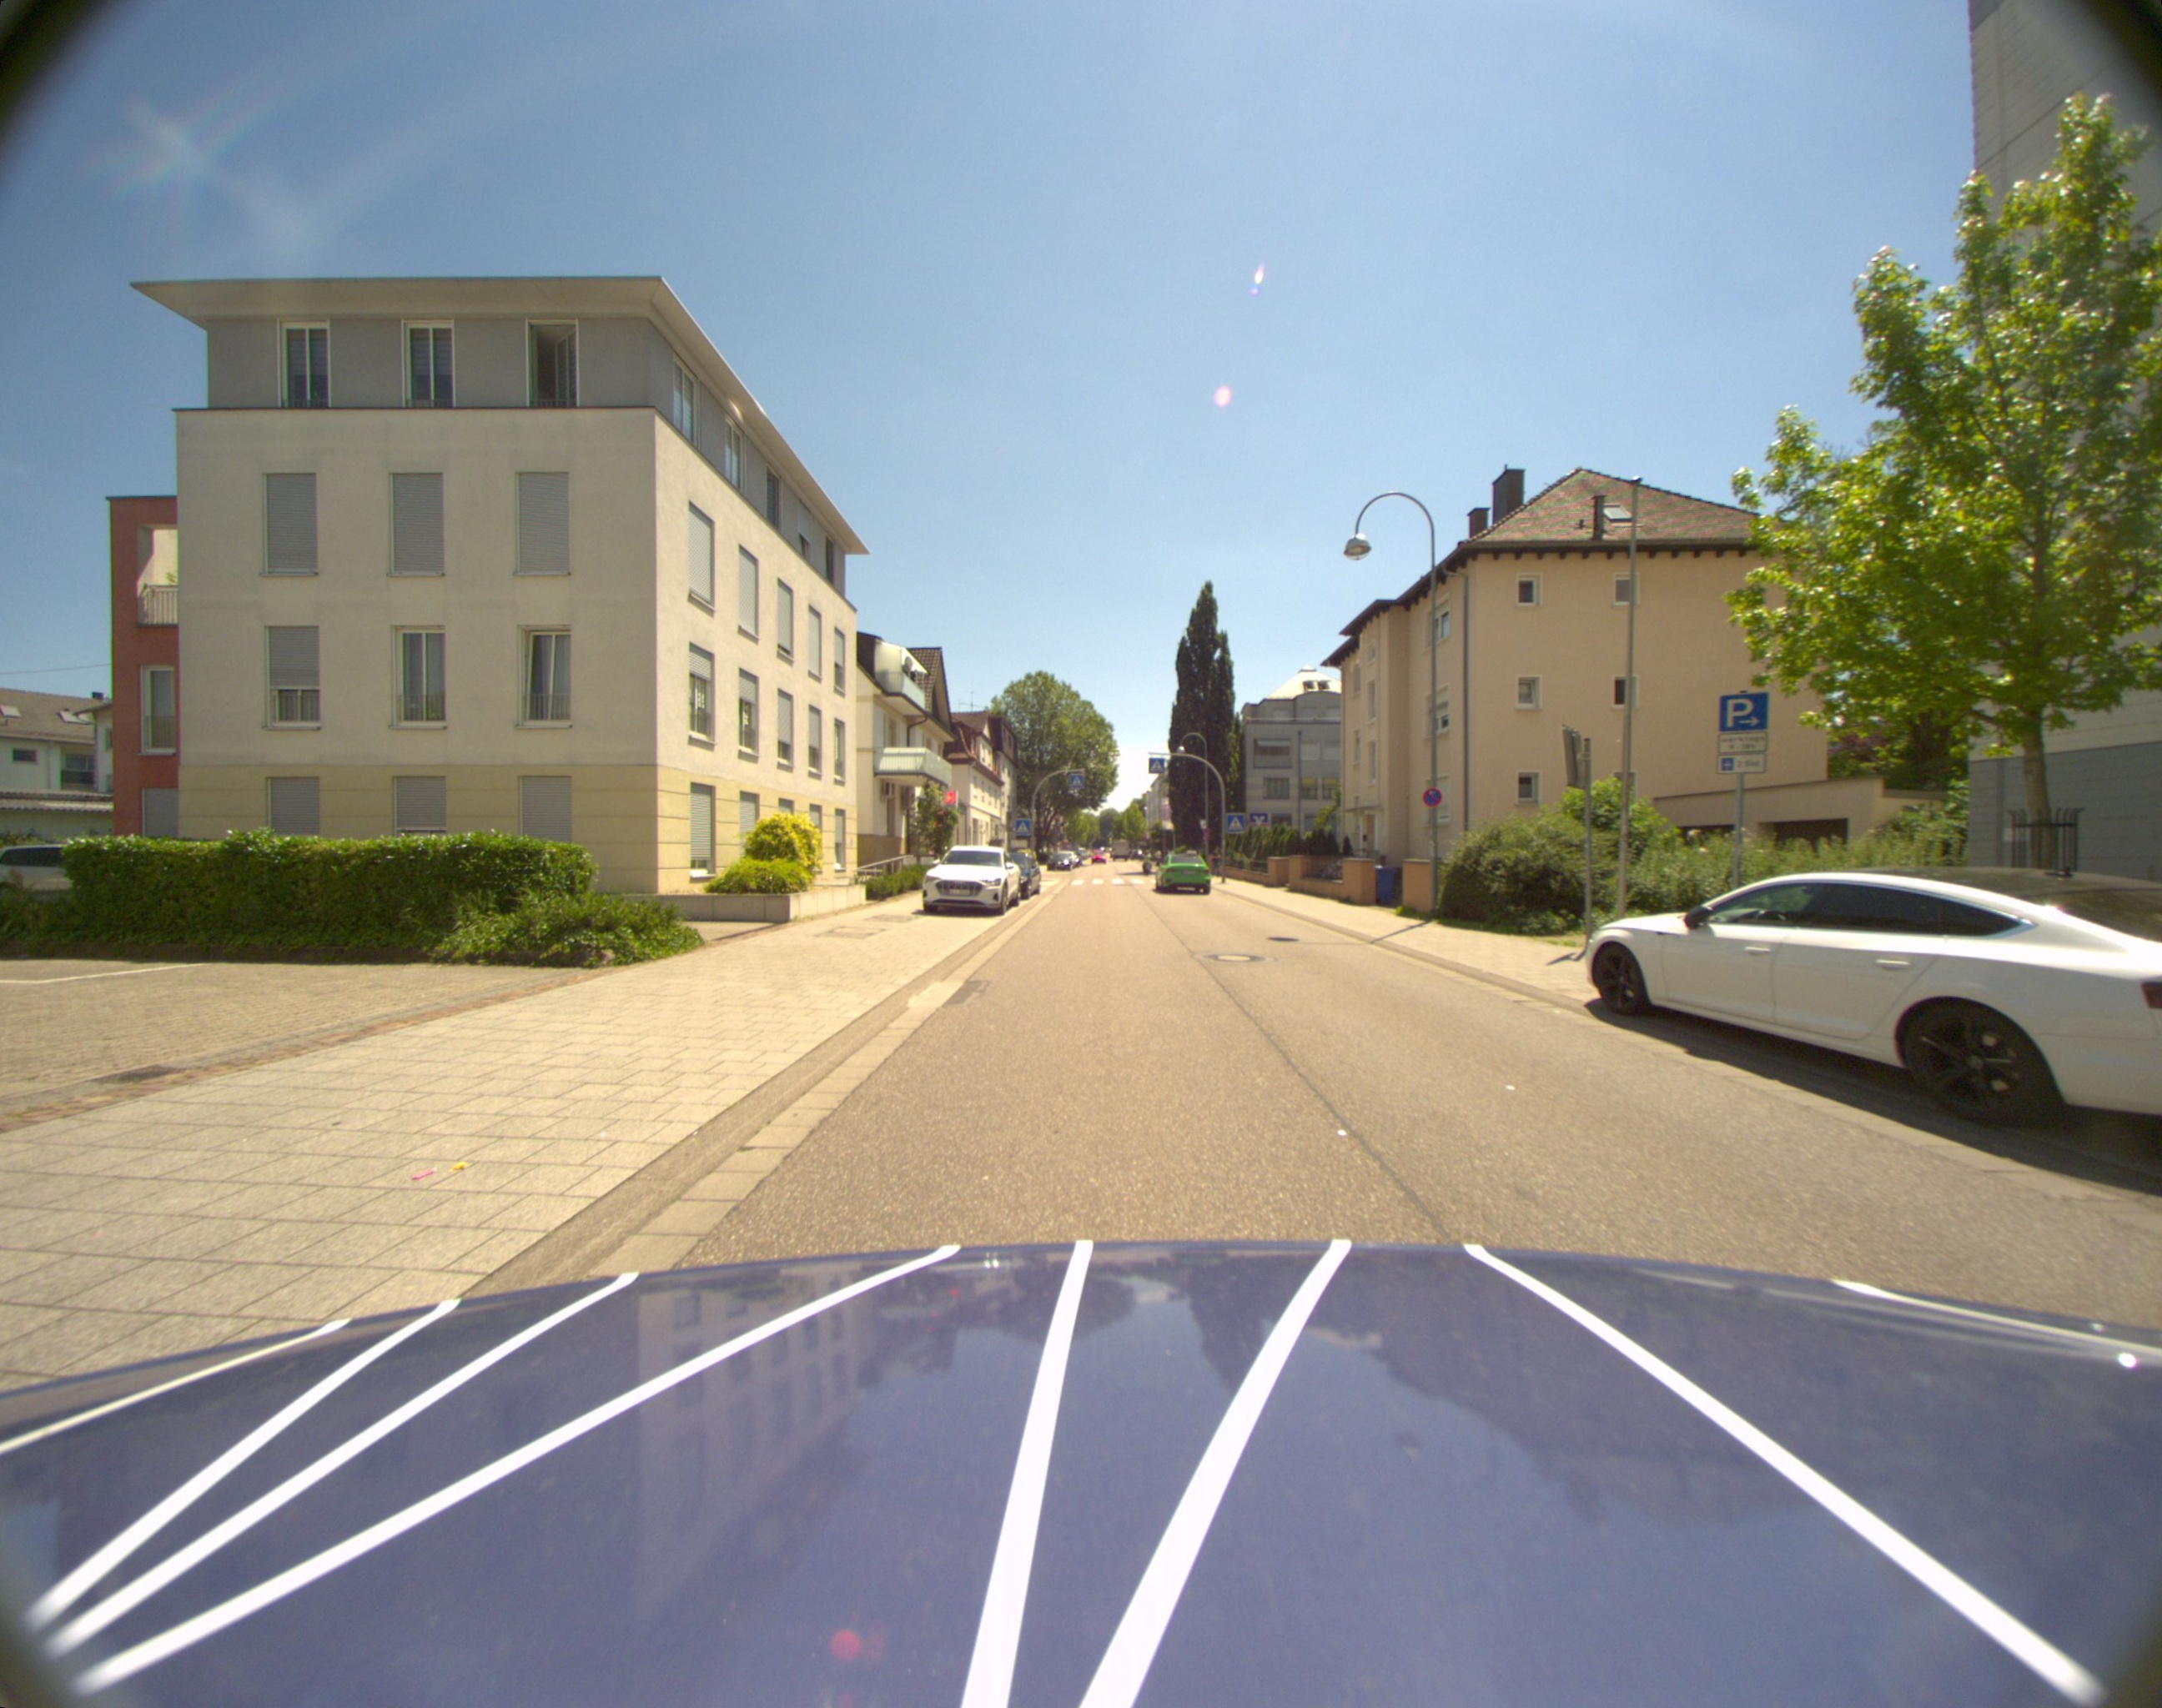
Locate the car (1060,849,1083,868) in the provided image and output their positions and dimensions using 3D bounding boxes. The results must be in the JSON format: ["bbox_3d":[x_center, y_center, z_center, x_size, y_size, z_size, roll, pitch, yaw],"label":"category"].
[{"bbox_3d":[-0.758,0.361,64.548,1.748,1.460,4.851,2,1,2],"label":"car"}]

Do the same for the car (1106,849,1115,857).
[{"bbox_3d":[5.652,-0.124,146.030,1.834,1.502,4.262,0,0,2],"label":"car"}]

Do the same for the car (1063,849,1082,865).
[{"bbox_3d":[-0.752,0.249,70.473,1.561,1.333,4.173,1,1,1],"label":"car"}]

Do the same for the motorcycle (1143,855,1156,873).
[{"bbox_3d":[4.341,0.622,47.994,0.700,1.101,1.791,0,1,7],"label":"motorcycle"}]

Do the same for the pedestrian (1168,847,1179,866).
[{"bbox_3d":[8.270,0.228,68.248,0.847,1.635,0.751,-3,2,3],"label":"pedestrian"}]

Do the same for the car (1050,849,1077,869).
[{"bbox_3d":[-1.317,0.366,59.415,1.831,1.418,4.700,1,1,2],"label":"car"}]

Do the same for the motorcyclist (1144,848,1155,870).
[{"bbox_3d":[4.349,0.307,48.077,0.700,1.425,0.707,0,1,7],"label":"motorcyclist"}]

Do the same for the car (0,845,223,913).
[{"bbox_3d":[-25.463,0.608,19.878,3.690,1.674,1.810,0,1,-6],"label":"car"}]

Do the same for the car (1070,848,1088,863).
[{"bbox_3d":[-0.227,0.161,82.474,1.834,1.502,4.758,-1,0,-1],"label":"car"}]

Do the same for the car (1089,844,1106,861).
[{"bbox_3d":[1.941,-0.202,89.311,2.000,1.880,4.294,-2,1,1],"label":"car"}]

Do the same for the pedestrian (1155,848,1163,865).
[{"bbox_3d":[7.810,0.213,76.251,0.622,1.667,0.903,-2,1,1],"label":"pedestrian"}]

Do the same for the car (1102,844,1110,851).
[{"bbox_3d":[6.118,-1.602,184.295,1.731,1.500,4.292,-1,3,0],"label":"car"}]

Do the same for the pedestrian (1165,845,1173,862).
[{"bbox_3d":[8.845,-0.066,76.267,0.750,1.760,0.951,-1,1,1],"label":"pedestrian"}]

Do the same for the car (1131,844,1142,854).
[{"bbox_3d":[9.915,-0.903,136.617,1.731,1.661,4.294,-1,1,1],"label":"car"}]

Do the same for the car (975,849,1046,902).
[{"bbox_3d":[-2.287,0.641,25.790,1.709,1.547,4.748,3,1,2],"label":"car"}]

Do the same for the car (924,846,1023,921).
[{"bbox_3d":[-2.601,0.635,19.451,1.709,1.656,4.580,2,1,2],"label":"car"}]

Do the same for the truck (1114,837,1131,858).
[{"bbox_3d":[6.047,-1.003,110.815,2.425,2.966,6.259,0,1,4],"label":"truck"}]

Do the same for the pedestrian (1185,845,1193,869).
[{"bbox_3d":[7.775,0.200,54.708,0.538,1.675,0.708,-1,1,2],"label":"pedestrian"}]

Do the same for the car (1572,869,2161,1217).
[{"bbox_3d":[5.794,0.886,5.348,1.826,1.403,4.577,-1,1,2],"label":"car"}]

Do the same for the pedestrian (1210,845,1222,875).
[{"bbox_3d":[7.692,0.321,43.250,0.538,1.675,0.708,-1,1,2],"label":"pedestrian"}]

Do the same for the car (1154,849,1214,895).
[{"bbox_3d":[3.794,0.622,28.594,1.826,1.579,4.100,0,1,2],"label":"car"}]

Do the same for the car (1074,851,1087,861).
[{"bbox_3d":[-0.005,0.311,115.110,1.818,1.379,4.115,2,0,1],"label":"car"}]
